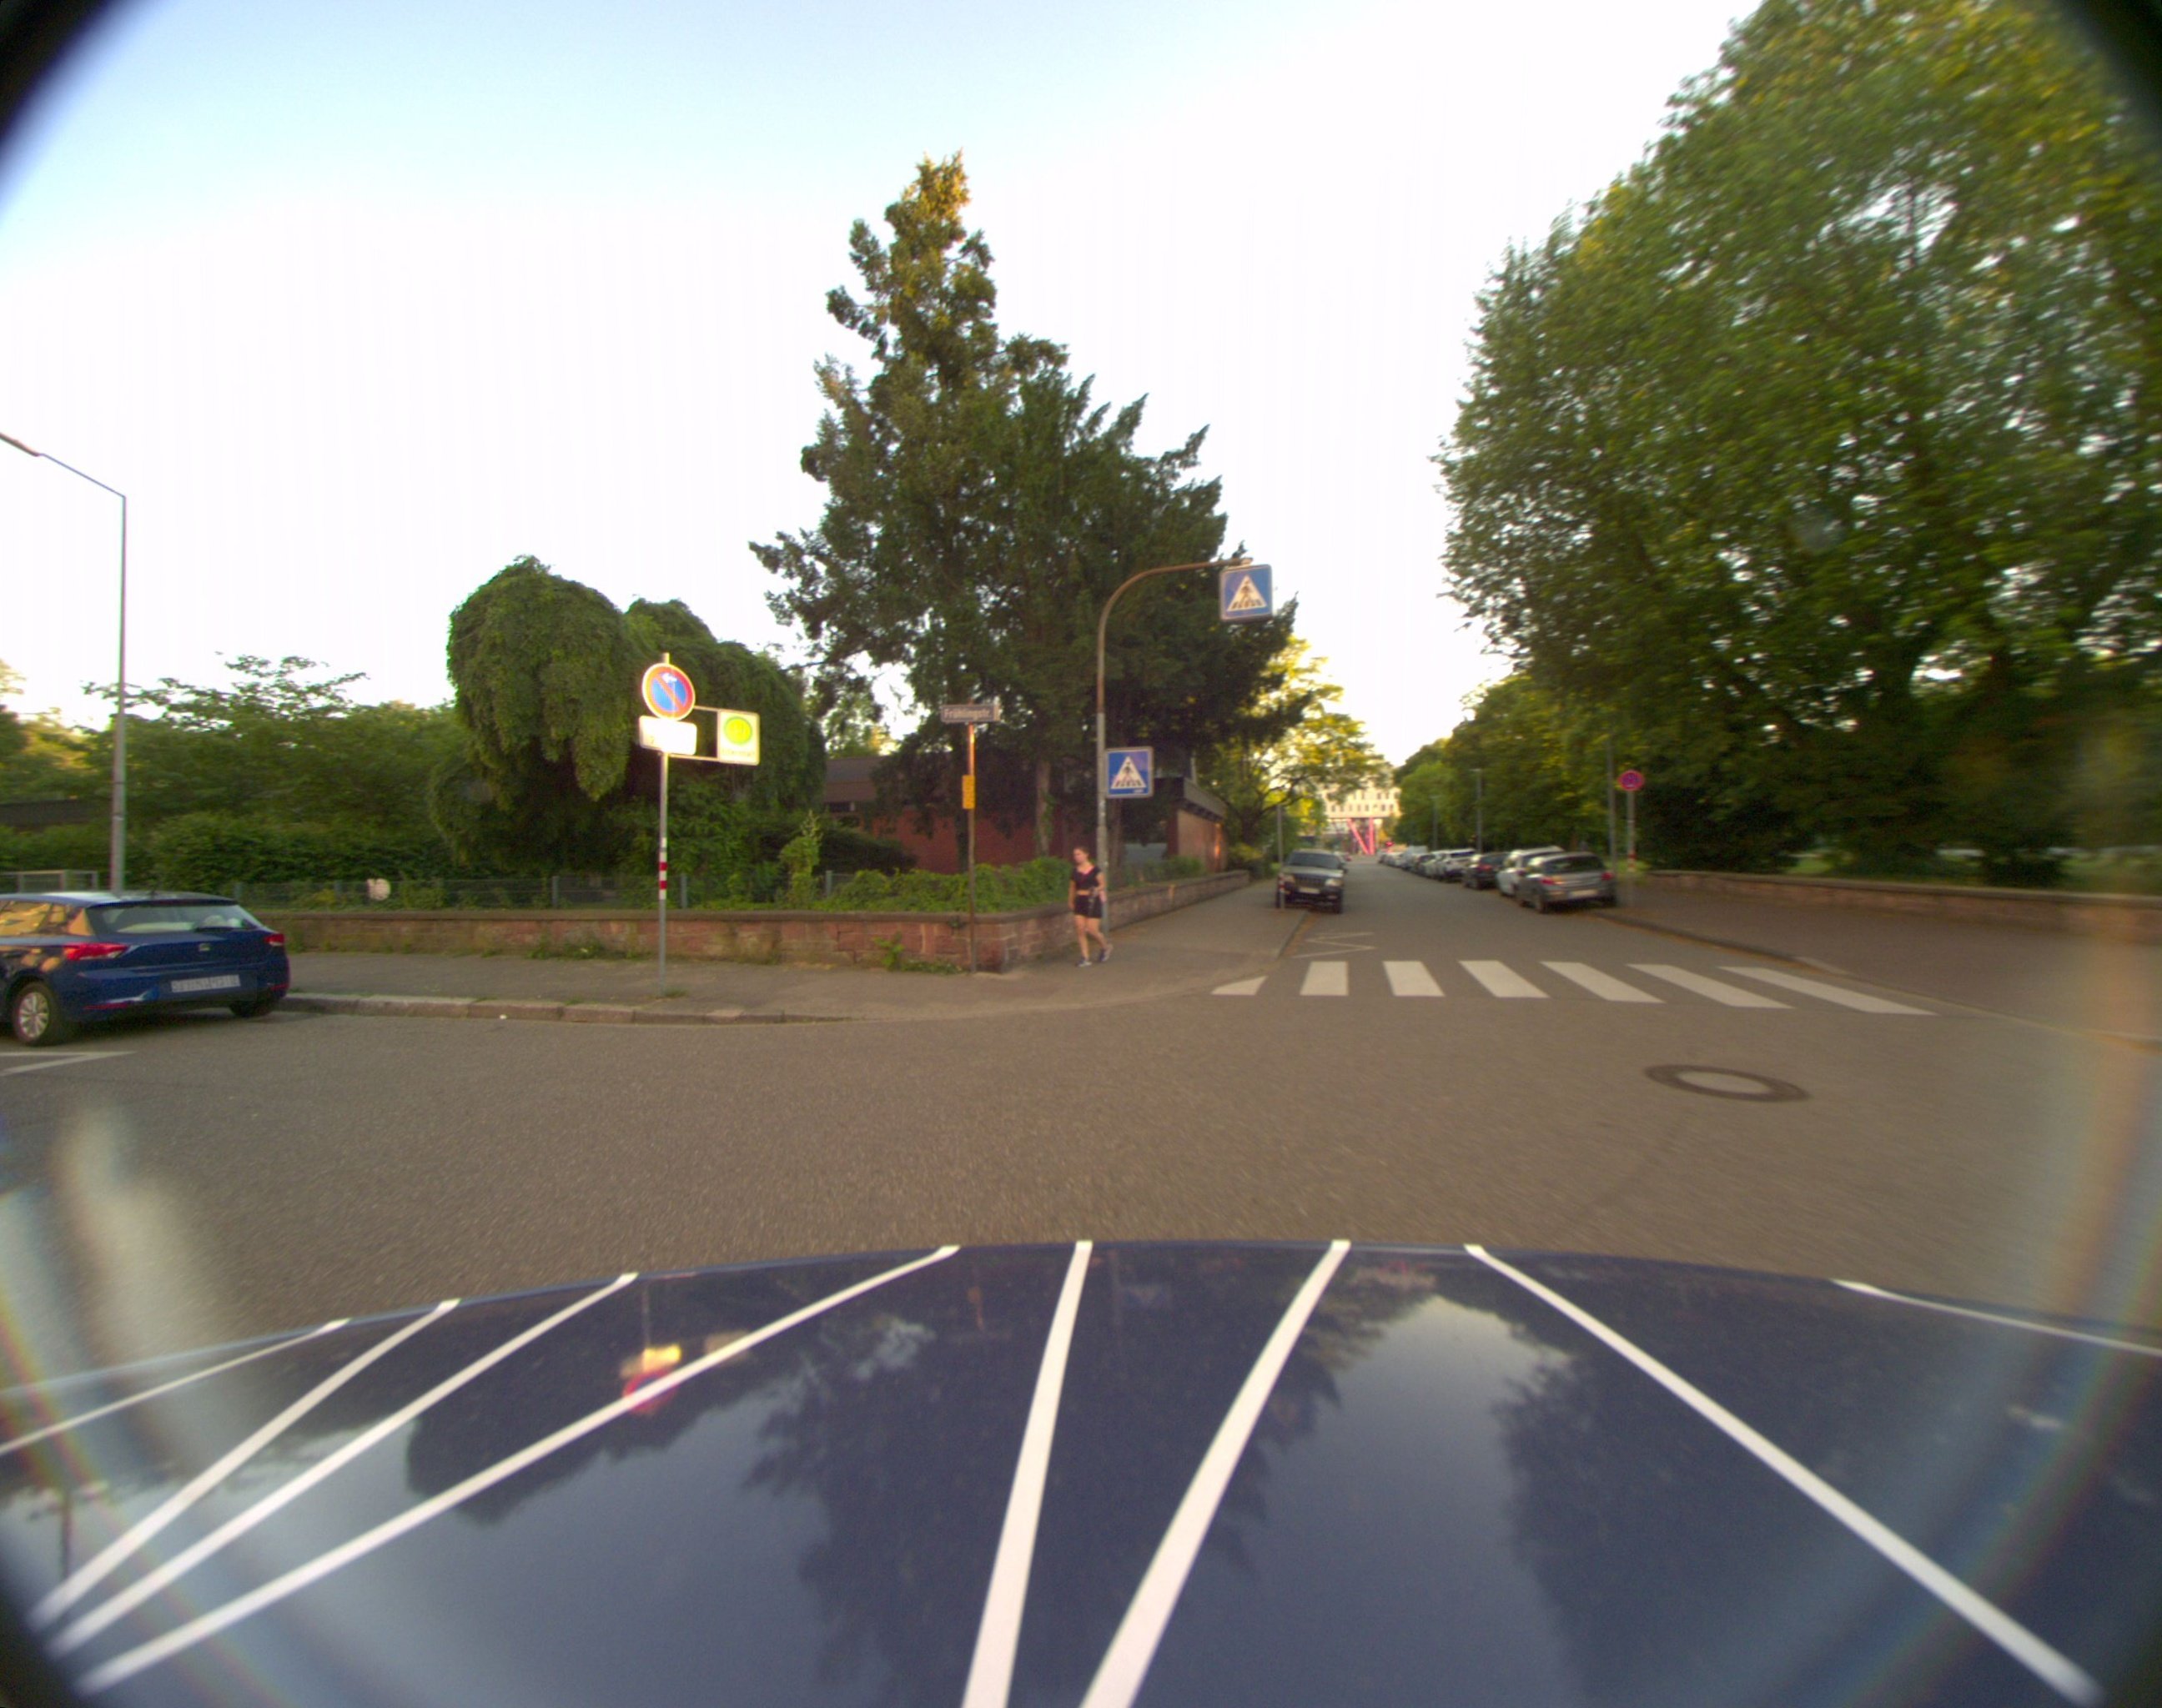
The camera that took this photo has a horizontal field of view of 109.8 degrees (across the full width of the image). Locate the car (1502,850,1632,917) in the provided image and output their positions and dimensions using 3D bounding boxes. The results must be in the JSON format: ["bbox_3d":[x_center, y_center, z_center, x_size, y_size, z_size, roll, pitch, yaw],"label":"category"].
[{"bbox_3d":[12.669,0.724,20.096,1.784,1.442,3.889,-6,-2,17],"label":"car"}]

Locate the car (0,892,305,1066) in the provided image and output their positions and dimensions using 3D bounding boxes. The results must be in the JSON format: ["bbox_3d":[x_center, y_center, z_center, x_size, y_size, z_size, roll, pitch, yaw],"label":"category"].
[{"bbox_3d":[-10.642,1.181,7.941,3.784,1.476,1.725,-1,0,11],"label":"car"}]

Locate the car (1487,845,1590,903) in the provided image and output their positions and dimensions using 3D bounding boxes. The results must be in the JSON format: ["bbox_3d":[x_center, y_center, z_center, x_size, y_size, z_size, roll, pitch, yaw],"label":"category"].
[{"bbox_3d":[14.544,0.606,24.398,1.784,1.567,3.889,-6,-2,17],"label":"car"}]

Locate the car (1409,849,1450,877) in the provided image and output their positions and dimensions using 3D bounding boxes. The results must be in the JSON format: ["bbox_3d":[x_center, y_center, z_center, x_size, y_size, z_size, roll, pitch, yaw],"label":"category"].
[{"bbox_3d":[22.655,0.579,49.530,1.784,1.562,3.889,-6,-2,17],"label":"car"}]

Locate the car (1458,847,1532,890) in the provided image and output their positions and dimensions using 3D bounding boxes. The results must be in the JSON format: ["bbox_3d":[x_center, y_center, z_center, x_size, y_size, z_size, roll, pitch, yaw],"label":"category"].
[{"bbox_3d":[16.804,0.561,31.037,1.784,1.467,3.889,-6,-2,17],"label":"car"}]

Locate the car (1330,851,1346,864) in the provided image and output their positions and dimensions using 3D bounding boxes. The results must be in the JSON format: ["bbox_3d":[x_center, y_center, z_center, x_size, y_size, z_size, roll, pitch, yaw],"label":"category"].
[{"bbox_3d":[36.052,0.454,106.723,1.996,1.739,4.005,-2,0,17],"label":"car"}]

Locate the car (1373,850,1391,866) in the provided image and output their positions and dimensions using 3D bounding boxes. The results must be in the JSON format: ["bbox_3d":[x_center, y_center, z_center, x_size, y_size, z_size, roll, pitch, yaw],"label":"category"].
[{"bbox_3d":[39.085,0.530,98.717,1.784,1.772,4.017,-6,-2,17],"label":"car"}]

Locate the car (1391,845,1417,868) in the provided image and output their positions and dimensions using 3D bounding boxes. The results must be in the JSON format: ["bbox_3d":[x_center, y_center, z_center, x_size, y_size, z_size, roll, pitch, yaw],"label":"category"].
[{"bbox_3d":[31.537,0.208,74.234,1.784,2.024,3.889,-6,-2,17],"label":"car"}]

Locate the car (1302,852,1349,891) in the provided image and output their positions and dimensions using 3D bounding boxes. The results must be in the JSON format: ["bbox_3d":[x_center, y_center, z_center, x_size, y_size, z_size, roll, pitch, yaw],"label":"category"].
[{"bbox_3d":[10.567,0.717,32.961,1.783,1.491,3.889,3,1,17],"label":"car"}]

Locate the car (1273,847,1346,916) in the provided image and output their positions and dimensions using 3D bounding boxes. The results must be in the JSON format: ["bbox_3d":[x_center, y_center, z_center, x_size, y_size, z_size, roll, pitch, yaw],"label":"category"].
[{"bbox_3d":[6.589,0.713,21.938,1.783,1.743,3.889,1,1,17],"label":"car"}]

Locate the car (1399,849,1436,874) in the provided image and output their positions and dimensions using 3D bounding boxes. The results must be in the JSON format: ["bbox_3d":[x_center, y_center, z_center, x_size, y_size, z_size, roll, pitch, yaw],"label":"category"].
[{"bbox_3d":[24.269,0.545,54.910,1.784,1.562,3.889,-6,-2,17],"label":"car"}]

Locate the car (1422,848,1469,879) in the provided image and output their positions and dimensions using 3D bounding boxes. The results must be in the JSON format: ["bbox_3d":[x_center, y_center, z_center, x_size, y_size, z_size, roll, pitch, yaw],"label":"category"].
[{"bbox_3d":[21.323,0.518,44.554,1.784,1.562,3.889,-6,-2,17],"label":"car"}]

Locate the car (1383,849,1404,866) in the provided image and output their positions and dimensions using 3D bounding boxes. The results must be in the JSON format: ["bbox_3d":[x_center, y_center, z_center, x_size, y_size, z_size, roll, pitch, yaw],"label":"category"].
[{"bbox_3d":[36.509,0.391,88.905,1.784,1.784,3.889,-6,-2,17],"label":"car"}]

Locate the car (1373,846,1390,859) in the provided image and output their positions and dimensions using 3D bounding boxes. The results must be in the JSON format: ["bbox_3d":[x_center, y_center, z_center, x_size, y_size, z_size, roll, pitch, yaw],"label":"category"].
[{"bbox_3d":[45.364,-0.207,114.760,1.784,1.772,4.017,-6,-2,17],"label":"car"}]

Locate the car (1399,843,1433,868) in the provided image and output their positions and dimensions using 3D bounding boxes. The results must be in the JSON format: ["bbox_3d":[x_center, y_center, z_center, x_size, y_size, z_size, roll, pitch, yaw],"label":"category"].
[{"bbox_3d":[28.158,0.140,63.979,1.962,1.825,3.889,-6,-2,17],"label":"car"}]

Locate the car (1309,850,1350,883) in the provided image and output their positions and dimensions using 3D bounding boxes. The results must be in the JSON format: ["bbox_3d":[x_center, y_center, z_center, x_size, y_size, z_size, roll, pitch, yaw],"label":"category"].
[{"bbox_3d":[12.421,0.593,38.082,1.783,1.491,3.889,3,1,17],"label":"car"}]

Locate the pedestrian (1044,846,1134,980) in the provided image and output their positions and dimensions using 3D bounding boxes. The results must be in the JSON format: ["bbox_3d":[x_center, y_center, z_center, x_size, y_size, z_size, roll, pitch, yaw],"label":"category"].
[{"bbox_3d":[0.123,0.773,10.543,0.859,1.716,0.826,4,3,31],"label":"pedestrian"}]

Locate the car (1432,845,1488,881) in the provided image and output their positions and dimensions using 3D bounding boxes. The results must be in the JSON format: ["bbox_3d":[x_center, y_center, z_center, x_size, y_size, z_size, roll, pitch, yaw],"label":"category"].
[{"bbox_3d":[19.383,0.452,39.024,1.784,1.562,3.889,-6,-2,17],"label":"car"}]
